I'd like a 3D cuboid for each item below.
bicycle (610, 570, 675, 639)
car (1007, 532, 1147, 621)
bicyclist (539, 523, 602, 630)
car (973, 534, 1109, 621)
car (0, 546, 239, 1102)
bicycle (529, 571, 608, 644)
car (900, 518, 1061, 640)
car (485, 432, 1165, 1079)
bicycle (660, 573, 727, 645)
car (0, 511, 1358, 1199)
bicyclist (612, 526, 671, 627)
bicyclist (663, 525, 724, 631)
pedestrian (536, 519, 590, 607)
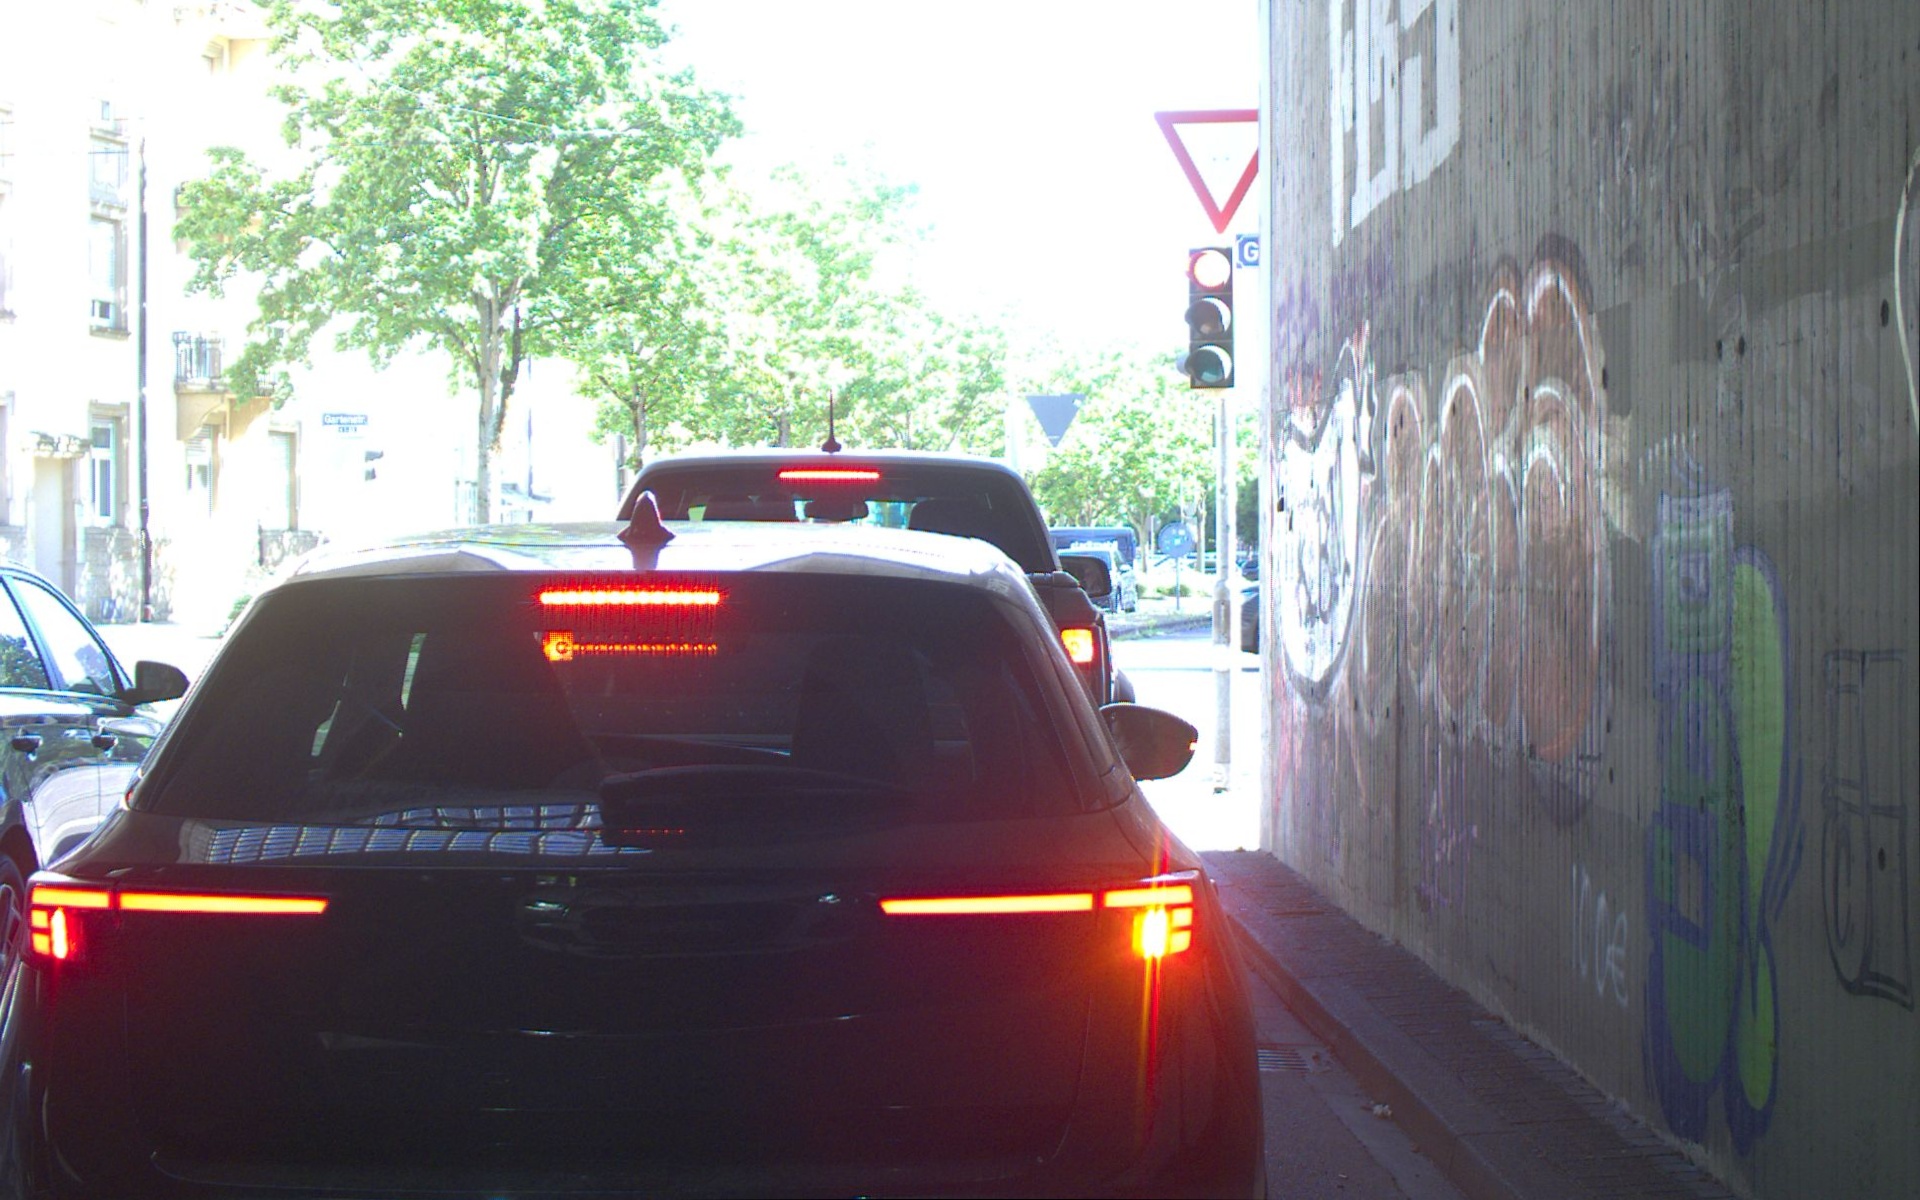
[{"bbox_3d":[-5.030,0.068,54.577,0.626,1.064,1.688,1,1,9],"label":"bicycle"},{"bbox_3d":[2.390,-0.439,69.011,2.221,1.713,4.458,0,-1,9],"label":"car"},{"bbox_3d":[-5.839,-0.356,51.546,0.729,1.576,0.814,1,0,9],"label":"bicyclist"},{"bbox_3d":[1.505,-0.384,62.201,1.969,1.492,3.895,0,-1,9],"label":"car"},{"bbox_3d":[-3.459,0.564,10.416,1.779,1.442,4.179,1,1,-2],"label":"car"},{"bbox_3d":[-5.858,0.100,51.521,0.732,1.064,1.688,1,1,9],"label":"bicycle"},{"bbox_3d":[0.298,-0.233,44.179,1.968,1.492,3.896,0,-1,1],"label":"car"},{"bbox_3d":[-0.410,0.412,11.897,1.945,1.853,3.964,0,1,-1],"label":"car"},{"bbox_3d":[-4.030,0.121,52.136,0.626,1.064,1.688,1,1,9],"label":"bicycle"},{"bbox_3d":[-0.489,0.629,6.076,1.882,1.532,3.964,0,1,-1],"label":"car"},{"bbox_3d":[-5.043,-0.370,54.411,0.729,1.576,0.814,1,0,9],"label":"bicyclist"},{"bbox_3d":[-4.038,-0.335,52.126,0.729,1.576,0.814,1,0,9],"label":"bicyclist"},{"bbox_3d":[-9.179,-0.866,79.473,0.992,2.007,1.088,0,1,8],"label":"pedestrian"}]
